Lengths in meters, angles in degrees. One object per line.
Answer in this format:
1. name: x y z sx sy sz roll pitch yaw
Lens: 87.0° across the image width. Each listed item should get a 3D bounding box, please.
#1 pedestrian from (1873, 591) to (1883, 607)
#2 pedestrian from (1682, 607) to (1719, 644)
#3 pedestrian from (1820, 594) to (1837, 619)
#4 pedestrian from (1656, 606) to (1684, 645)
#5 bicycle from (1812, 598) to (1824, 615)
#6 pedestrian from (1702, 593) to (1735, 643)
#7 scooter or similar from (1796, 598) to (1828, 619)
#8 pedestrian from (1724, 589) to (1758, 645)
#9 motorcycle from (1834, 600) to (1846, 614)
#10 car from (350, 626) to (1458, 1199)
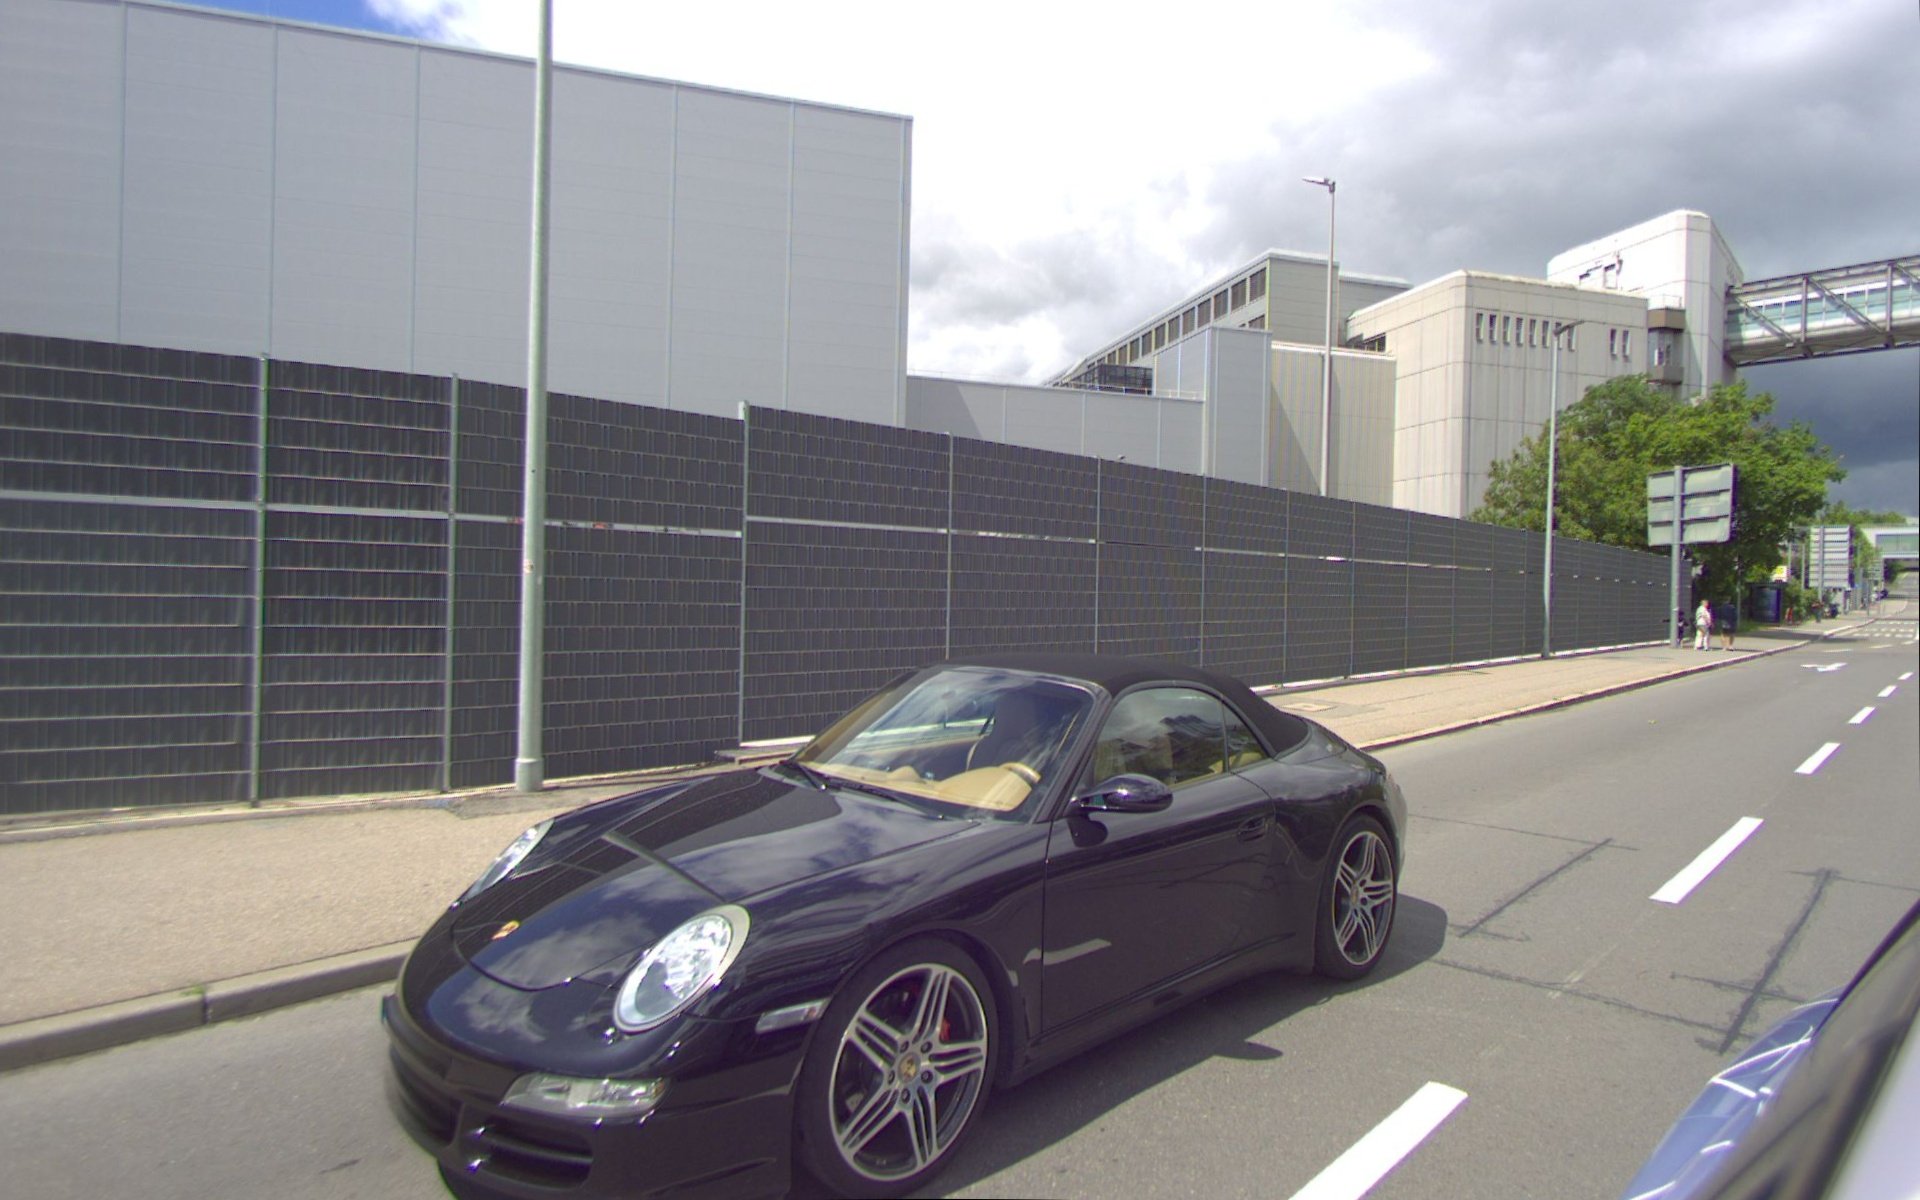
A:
1. pedestrian: 103.096 -0.142 113.668 0.999 1.788 0.728 0 0 -45
2. pedestrian: 23.707 0.799 32.408 0.955 1.163 0.759 0 0 -41
3. pedestrian: 59.632 0.469 69.470 0.810 1.665 0.982 3 2 44
4. pedestrian: 23.000 0.821 32.778 0.704 1.222 0.597 0 0 -41
5. bicycle: 62.790 0.485 74.076 0.443 1.195 2.428 -1 0 45
6. pedestrian: 25.288 0.587 33.747 0.794 1.617 0.720 -1 0 44
7. scooter or similar: 49.959 0.520 59.362 1.754 1.177 0.544 1 1 -17
8. pedestrian: 25.031 0.529 32.432 0.794 1.742 0.720 -1 0 42
9. motorcycle: 70.878 0.585 81.494 2.004 1.080 0.591 0 2 -45
10. car: 0.091 0.791 3.888 3.928 1.342 1.837 2 -2 -40
